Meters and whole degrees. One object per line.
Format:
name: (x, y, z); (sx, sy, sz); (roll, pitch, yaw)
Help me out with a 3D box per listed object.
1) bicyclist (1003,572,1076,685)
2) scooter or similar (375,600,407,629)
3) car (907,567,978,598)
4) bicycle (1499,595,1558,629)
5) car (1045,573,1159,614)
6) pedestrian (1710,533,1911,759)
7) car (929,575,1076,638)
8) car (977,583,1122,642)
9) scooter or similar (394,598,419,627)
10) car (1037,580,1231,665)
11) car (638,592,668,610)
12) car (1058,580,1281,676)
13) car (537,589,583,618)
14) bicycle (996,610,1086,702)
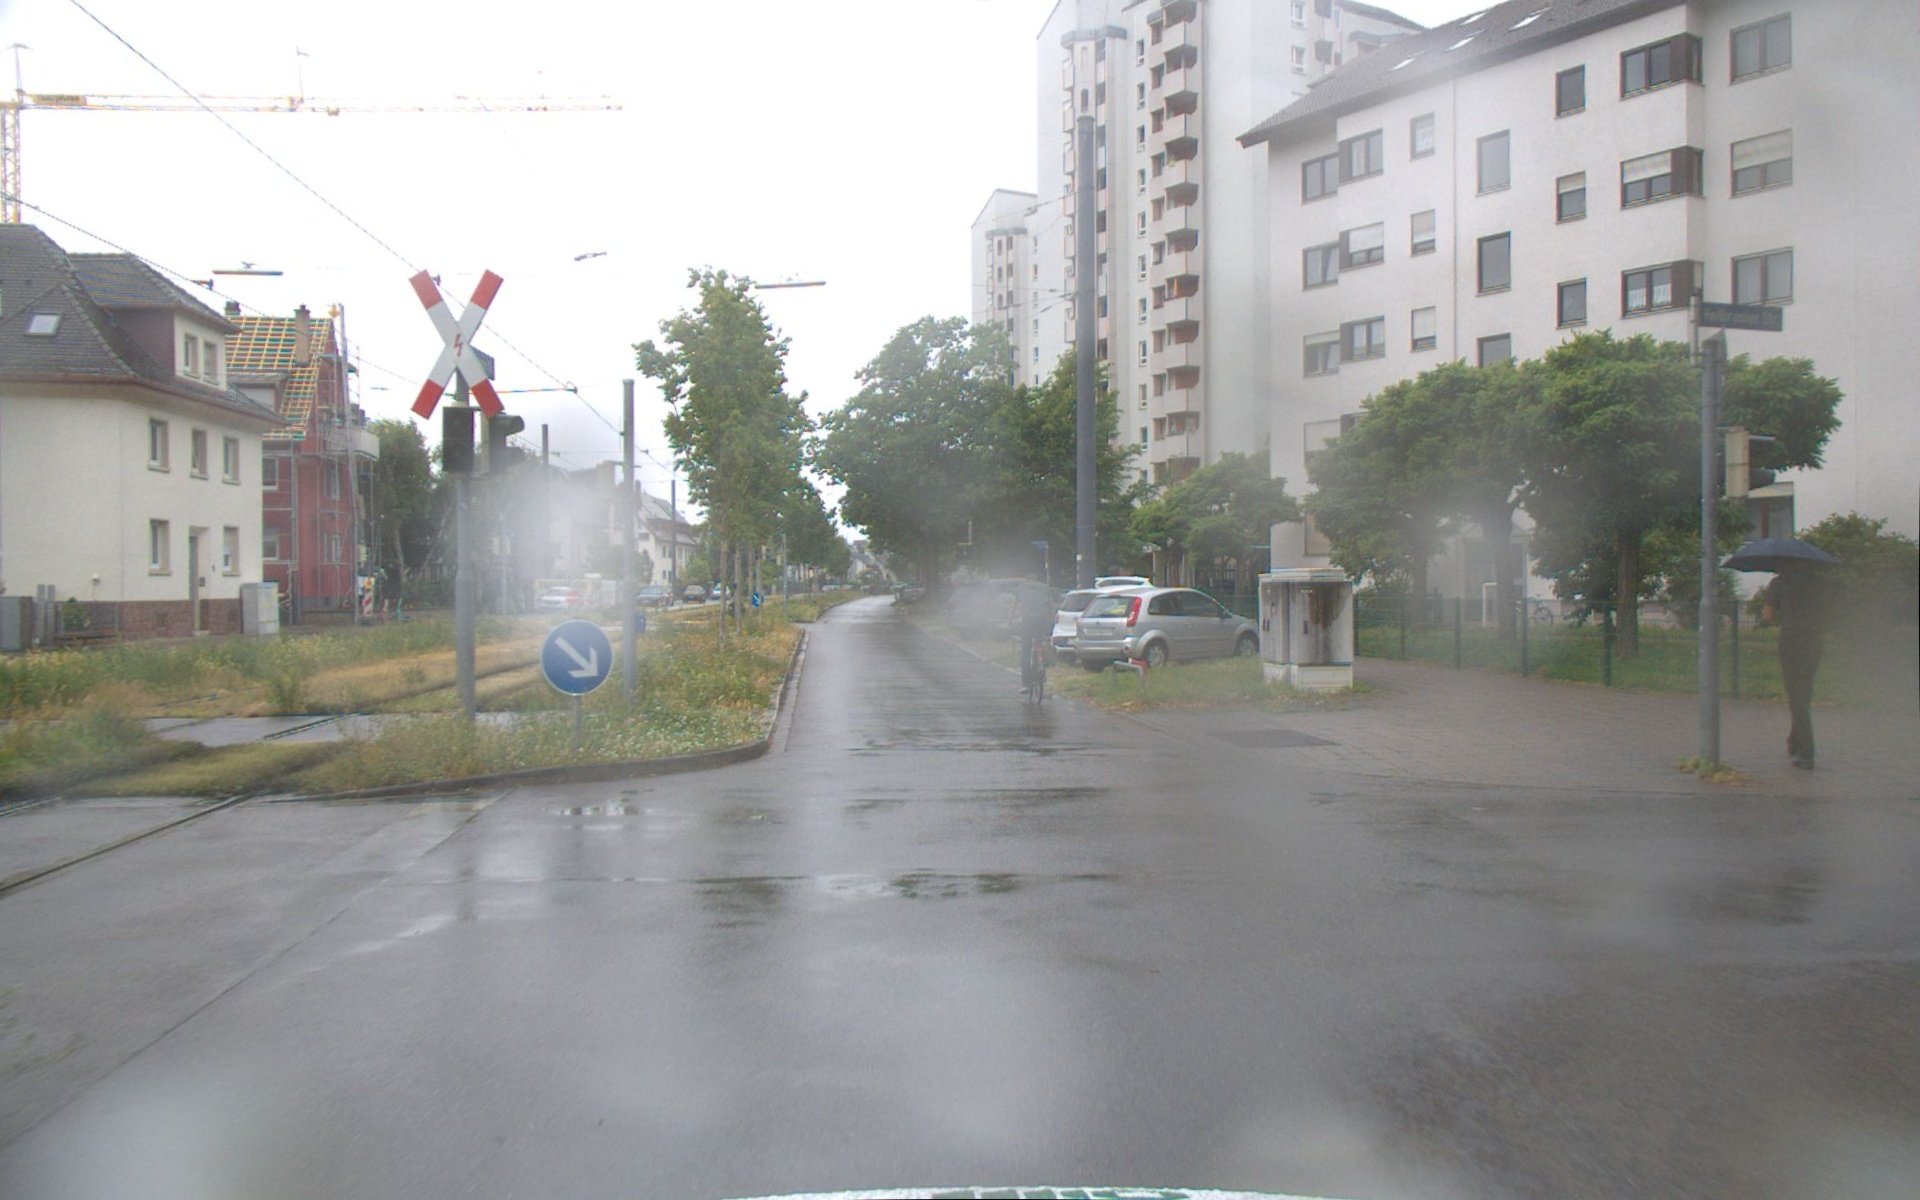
bicyclist: (1.055, 0.363, 22.139); (0.794, 1.458, 1.058); (-1, 0, -7)
scooter or similar: (-22.956, 0.595, 66.770); (0.431, 1.149, 1.282); (-1, 0, 26)
car: (-1.130, -1.146, 106.039); (4.102, 1.749, 1.975); (-4, 2, -35)
bicycle: (15.110, 0.319, 43.964); (0.484, 0.862, 1.556); (-1, 0, -30)
car: (6.381, -0.290, 74.309); (4.730, 1.776, 1.989); (-1, 0, -19)
pedestrian: (7.288, 0.375, 14.263); (1.076, 1.845, 1.434); (-1, 0, 5)
car: (1.279, 0.155, 47.928); (1.827, 1.680, 4.320); (-1, 1, 44)
car: (2.449, 0.306, 44.673); (1.706, 1.454, 3.972); (-1, 1, 44)
scooter or similar: (-23.373, 0.529, 69.847); (0.385, 1.201, 1.284); (-1, 0, 11)
car: (3.527, 0.429, 33.137); (3.969, 1.534, 1.678); (-2, -1, -44)
car: (-23.246, 0.061, 125.264); (1.630, 1.266, 4.069); (1, 0, -2)
car: (3.817, 0.486, 29.784); (3.964, 1.534, 1.758); (-2, -1, -41)
car: (-23.065, 0.166, 95.571); (1.676, 1.569, 4.420); (2, 1, -2)
bicycle: (1.056, 0.721, 22.240); (0.794, 1.116, 2.514); (-1, 1, -6)
